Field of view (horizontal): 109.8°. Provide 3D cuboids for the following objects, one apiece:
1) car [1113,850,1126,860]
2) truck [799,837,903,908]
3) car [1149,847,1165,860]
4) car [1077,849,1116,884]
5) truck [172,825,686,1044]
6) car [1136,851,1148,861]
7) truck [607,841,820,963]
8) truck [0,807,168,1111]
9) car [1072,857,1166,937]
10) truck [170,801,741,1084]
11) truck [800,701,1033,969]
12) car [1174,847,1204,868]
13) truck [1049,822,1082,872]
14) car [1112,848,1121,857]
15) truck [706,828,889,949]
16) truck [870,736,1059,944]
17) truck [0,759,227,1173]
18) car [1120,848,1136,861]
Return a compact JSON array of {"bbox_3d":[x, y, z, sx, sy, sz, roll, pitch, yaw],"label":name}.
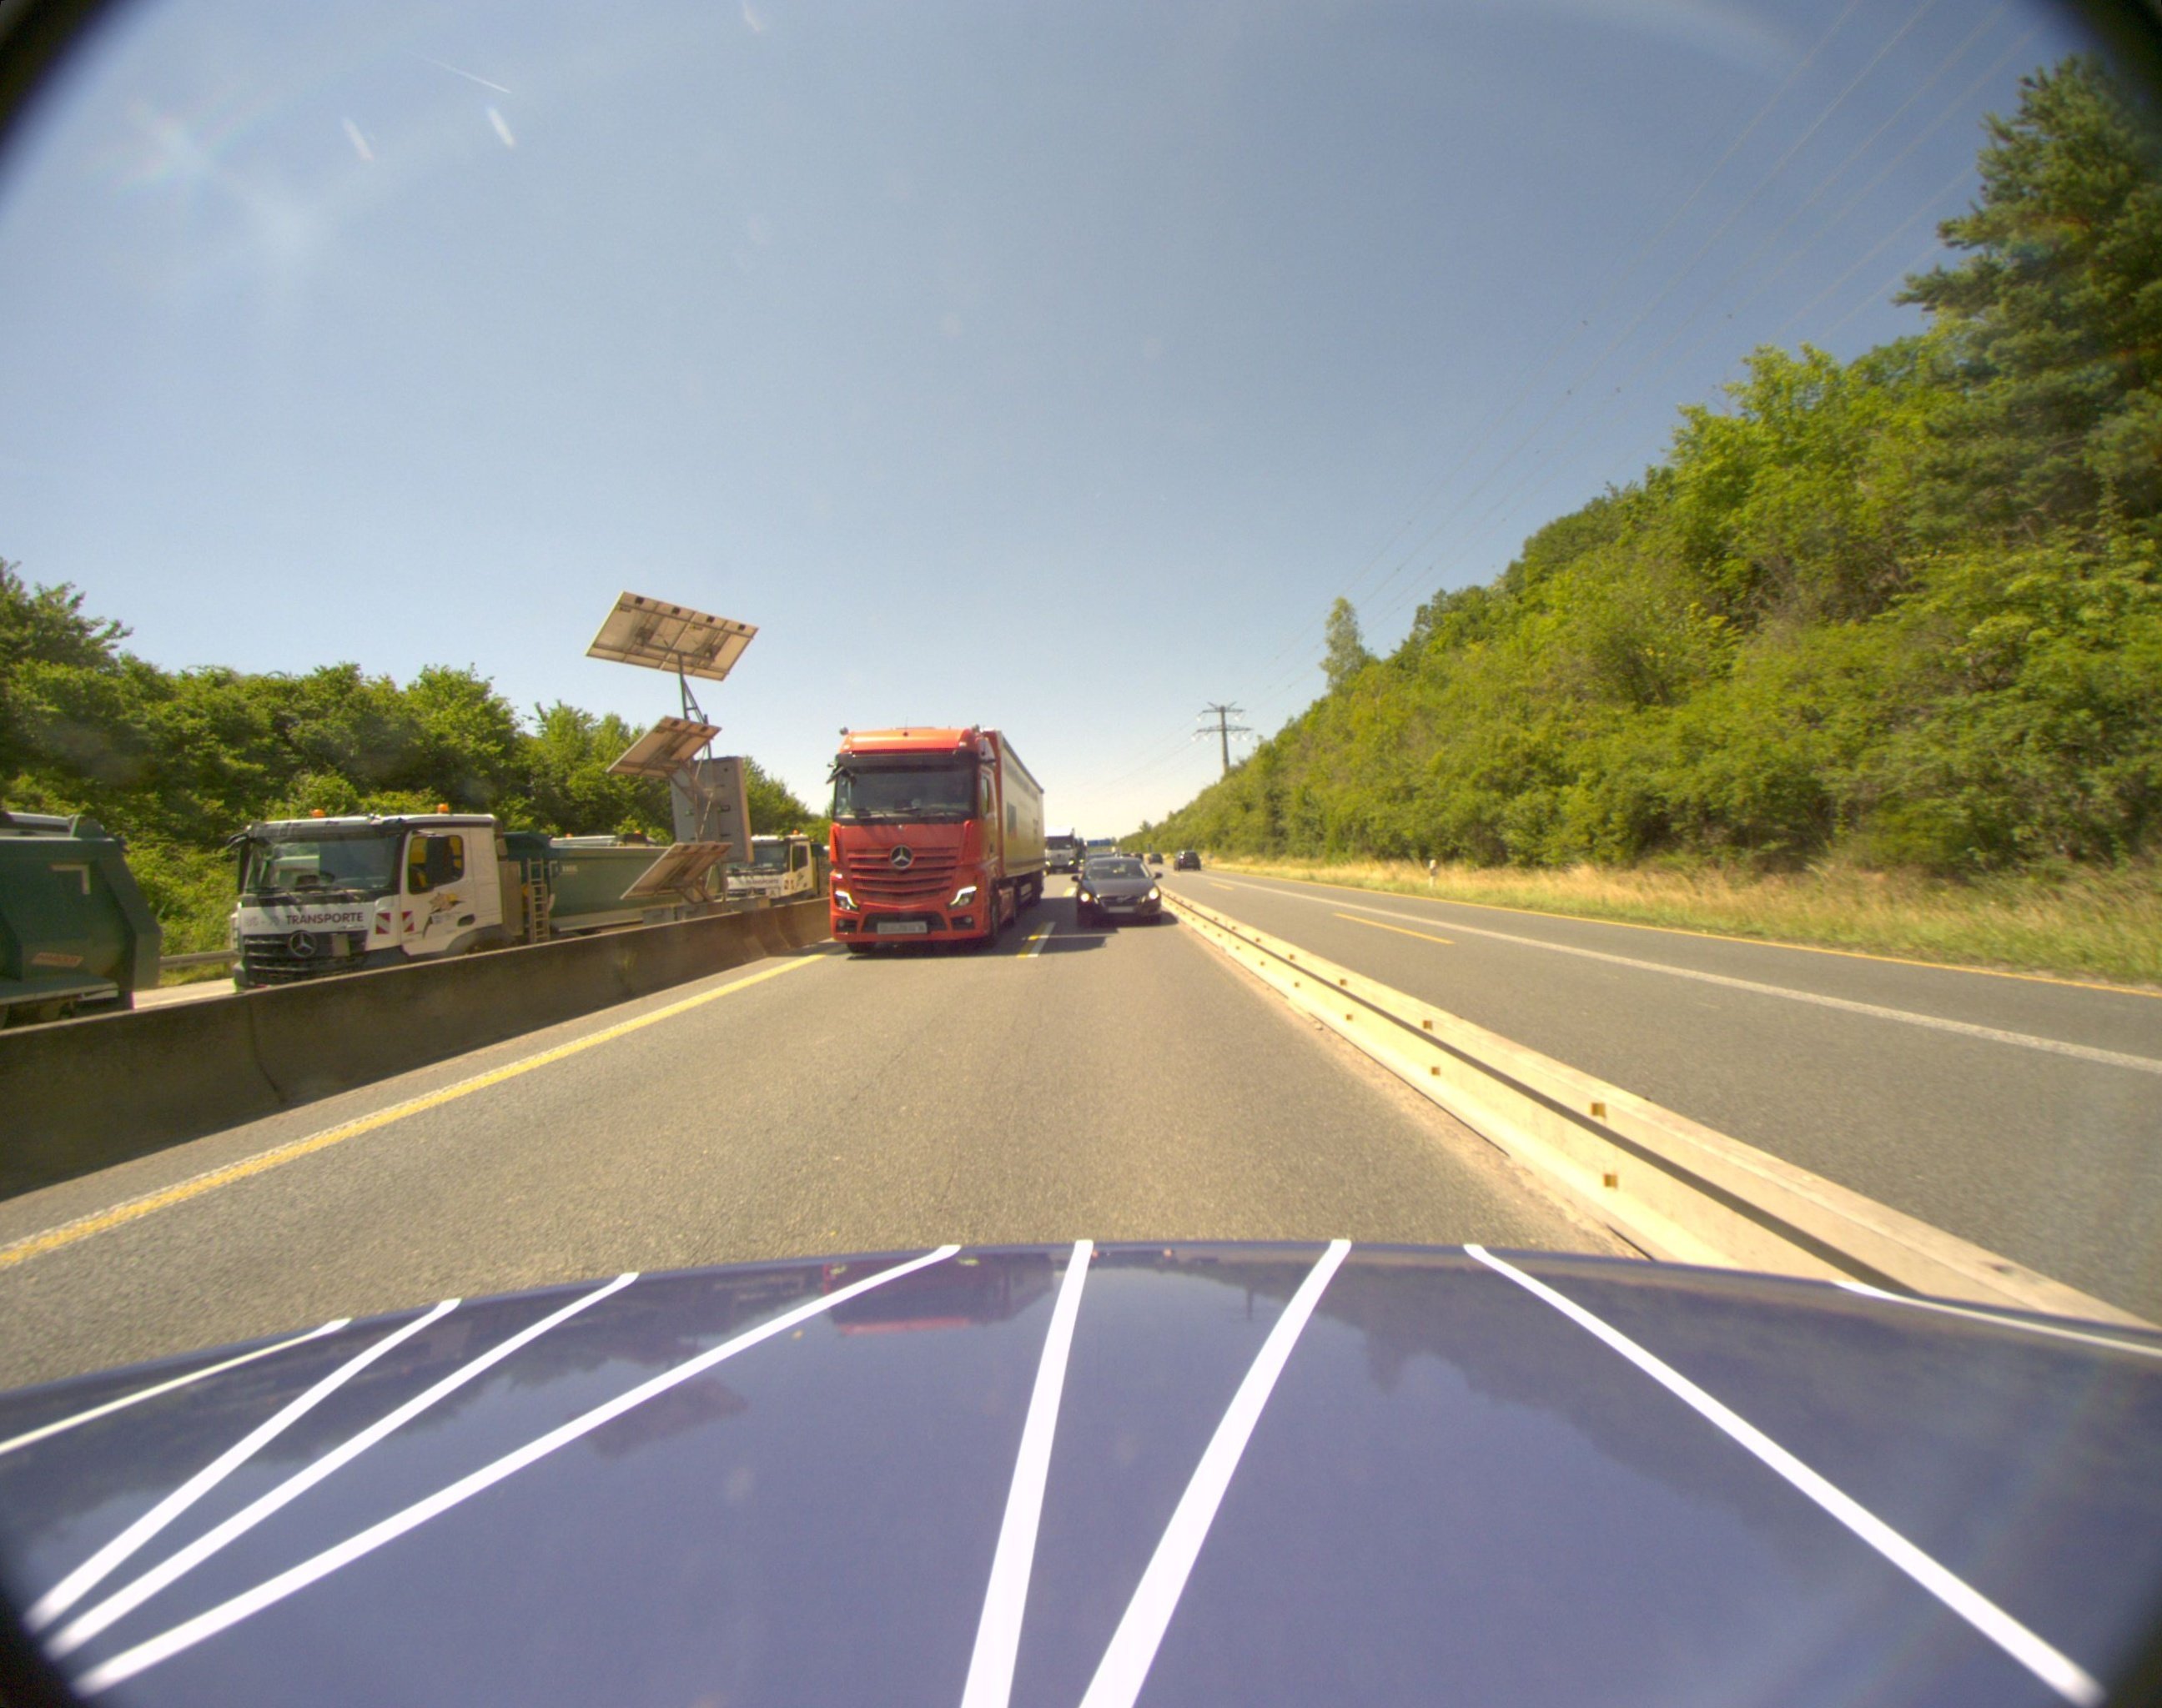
[{"bbox_3d":[6.228,0.134,123.788,1.848,1.524,4.671,-4,0,1],"label":"car"},{"bbox_3d":[-12.815,0.916,43.423,2.694,3.536,9.602,-3,0,1],"label":"truck"},{"bbox_3d":[9.702,-0.036,96.924,1.727,1.513,4.185,-2,0,2],"label":"car"},{"bbox_3d":[0.822,0.569,38.114,1.767,1.523,4.699,-3,1,2],"label":"car"},{"bbox_3d":[-12.824,1.251,16.829,2.693,3.358,9.603,-3,0,2],"label":"truck"},{"bbox_3d":[10.616,0.314,132.518,1.704,1.556,3.995,-3,0,1],"label":"car"},{"bbox_3d":[-12.591,1.408,27.425,2.694,3.536,9.602,-3,0,1],"label":"truck"},{"bbox_3d":[-13.331,1.228,5.073,2.694,3.358,9.601,-3,0,0],"label":"truck"},{"bbox_3d":[0.839,0.845,17.011,1.767,1.411,4.699,-2,1,3],"label":"car"},{"bbox_3d":[-10.146,1.122,14.472,2.694,3.536,9.406,-3,0,2],"label":"truck"},{"bbox_3d":[-2.742,-0.281,15.003,2.688,3.986,6.726,-3,0,2],"label":"truck"},{"bbox_3d":[8.444,0.269,59.723,1.783,1.567,4.069,-2,0,2],"label":"car"},{"bbox_3d":[-1.279,-0.623,69.073,2.481,4.030,13.110,-3,0,1],"label":"truck"},{"bbox_3d":[8.296,-0.460,178.266,1.895,2.002,4.818,-3,0,2],"label":"car"},{"bbox_3d":[-9.697,1.011,27.569,2.694,3.536,9.602,-3,0,1],"label":"truck"},{"bbox_3d":[-2.489,-0.307,21.600,2.688,3.987,13.219,-3,0,2],"label":"truck"},{"bbox_3d":[-10.646,1.023,3.498,2.694,3.536,9.324,-3,0,0],"label":"truck"},{"bbox_3d":[6.247,0.022,102.234,1.848,1.601,4.699,-4,0,1],"label":"car"}]
